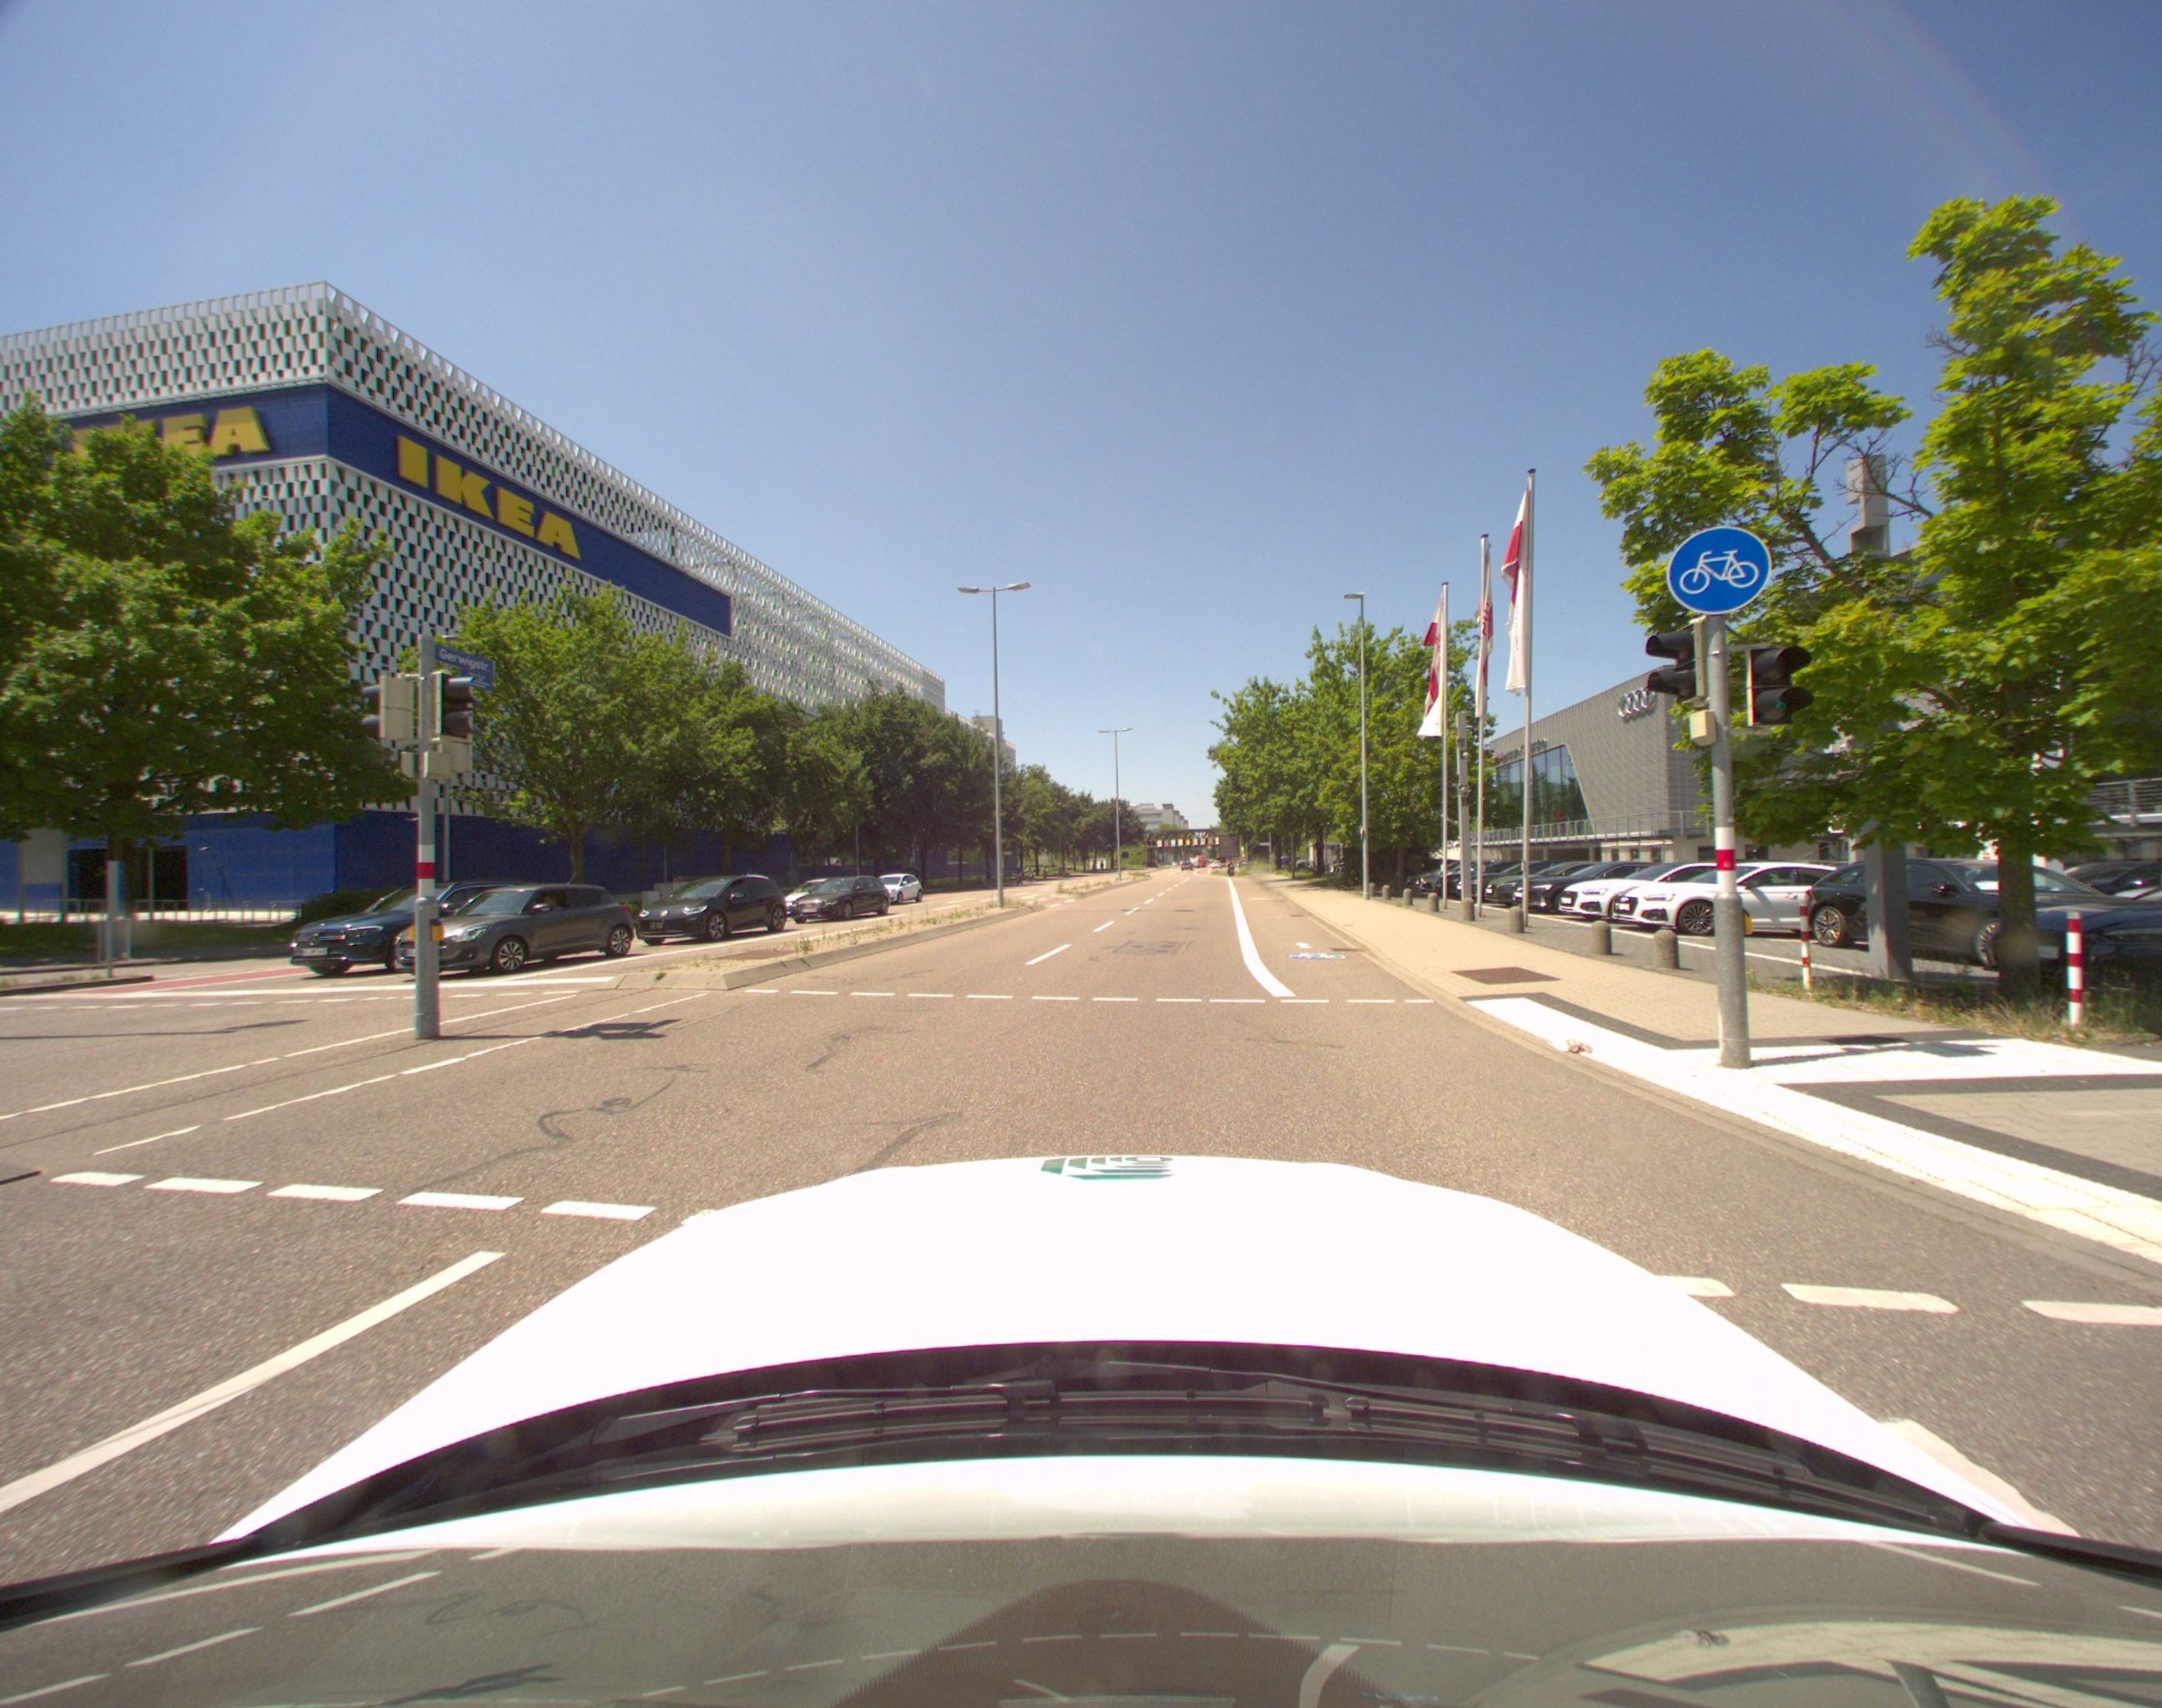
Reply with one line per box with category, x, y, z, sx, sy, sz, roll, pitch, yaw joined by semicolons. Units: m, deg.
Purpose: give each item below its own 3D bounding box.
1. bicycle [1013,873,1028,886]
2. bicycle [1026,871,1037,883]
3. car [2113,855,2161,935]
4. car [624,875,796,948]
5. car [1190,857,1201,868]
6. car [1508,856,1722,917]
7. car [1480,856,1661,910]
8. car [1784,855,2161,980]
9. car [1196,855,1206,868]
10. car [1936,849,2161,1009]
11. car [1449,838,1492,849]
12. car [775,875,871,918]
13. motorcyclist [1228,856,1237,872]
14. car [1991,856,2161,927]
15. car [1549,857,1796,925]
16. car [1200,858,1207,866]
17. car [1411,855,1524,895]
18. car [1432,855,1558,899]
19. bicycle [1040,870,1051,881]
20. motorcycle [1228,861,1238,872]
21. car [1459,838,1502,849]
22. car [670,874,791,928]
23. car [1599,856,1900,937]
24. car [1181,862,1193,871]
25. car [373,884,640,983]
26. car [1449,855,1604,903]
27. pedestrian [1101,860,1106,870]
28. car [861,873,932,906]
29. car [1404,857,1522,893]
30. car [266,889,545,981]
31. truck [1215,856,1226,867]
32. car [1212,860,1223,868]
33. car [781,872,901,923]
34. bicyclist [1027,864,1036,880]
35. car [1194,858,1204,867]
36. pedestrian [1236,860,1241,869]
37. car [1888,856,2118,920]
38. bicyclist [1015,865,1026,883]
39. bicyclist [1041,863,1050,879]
bicycle;-5.769;2.417;78.201;0.734;1.125;2.442;-2;-1;12
bicycle;-5.016;2.300;82.479;0.633;1.134;1.977;-2;-1;13
car;23.924;0.868;16.315;3.961;1.622;1.661;1;0;9
car;-9.087;1.349;20.384;1.716;1.505;4.255;-3;-2;10
car;22.265;1.650;158.813;1.982;2.014;4.010;-2;-1;9
car;13.476;0.783;20.797;4.200;1.390;1.874;1;0;9
car;13.957;0.797;23.459;4.076;1.405;1.874;1;0;9
car;12.698;0.753;11.734;1.850;1.420;4.677;1;0;12
car;27.959;1.656;189.388;2.060;2.854;6.781;-2;-1;9
car;11.268;0.687;7.721;4.071;1.390;1.874;1;0;9
car;42.736;-1.155;89.412;3.920;1.211;1.720;-1;-1;5
car;-10.258;1.659;32.817;1.736;1.422;4.635;-3;-1;9
motorcyclist;14.663;0.976;78.606;0.717;1.529;0.870;0;-1;0
car;24.326;0.861;19.191;3.625;1.580;1.646;1;0;9
car;13.024;0.781;18.193;4.074;1.349;1.874;1;0;9
car;30.345;1.965;202.103;1.741;2.014;3.881;-2;0;9
car;15.082;0.809;31.980;3.659;1.453;1.839;1;0;9
car;14.819;0.809;29.316;3.659;1.453;1.839;1;0;9
bicycle;-3.756;2.290;86.587;0.625;1.159;2.123;-4;-1;9
motorcycle;14.664;1.210;78.615;0.714;1.105;1.830;0;-1;0
car;42.417;-1.129;86.515;3.706;1.130;1.686;0;-1;5
car;-11.292;1.479;26.534;1.716;1.544;3.925;-2;-1;9
car;12.568;0.765;15.591;4.071;1.364;1.879;1;0;9
car;17.365;1.966;133.454;1.889;1.376;4.242;-2;-1;9
car;-9.908;1.305;14.423;1.633;1.389;3.726;-3;-2;10
car;14.541;0.801;26.794;4.076;1.453;1.874;1;0;9
pedestrian;4.001;1.950;146.607;0.739;1.884;0.579;-2;-1;10
car;-8.982;1.696;39.939;1.716;1.446;4.464;-3;-1;10
car;16.138;0.850;34.569;4.206;1.401;1.821;1;0;9
car;-12.810;1.464;15.821;1.650;1.424;4.049;-2;-1;9
truck;32.177;1.701;187.226;2.444;2.410;7.153;0;0;10
car;25.498;1.816;152.339;1.913;1.420;4.010;-1;-1;9
car;-7.875;1.392;27.235;1.715;1.446;4.735;-4;-2;12
bicyclist;-5.051;1.782;82.420;0.632;1.582;0.887;-2;-1;12
car;25.824;1.918;178.182;1.883;1.816;4.010;-2;0;9
pedestrian;23.659;1.592;122.203;0.620;1.374;0.566;-1;-1;8
car;24.638;0.885;21.898;3.958;1.573;1.638;1;0;9
bicyclist;-5.803;1.884;78.121;0.740;1.686;0.955;-2;-1;12
bicyclist;-3.787;1.828;86.521;0.630;1.629;1.047;-3;-1;9
